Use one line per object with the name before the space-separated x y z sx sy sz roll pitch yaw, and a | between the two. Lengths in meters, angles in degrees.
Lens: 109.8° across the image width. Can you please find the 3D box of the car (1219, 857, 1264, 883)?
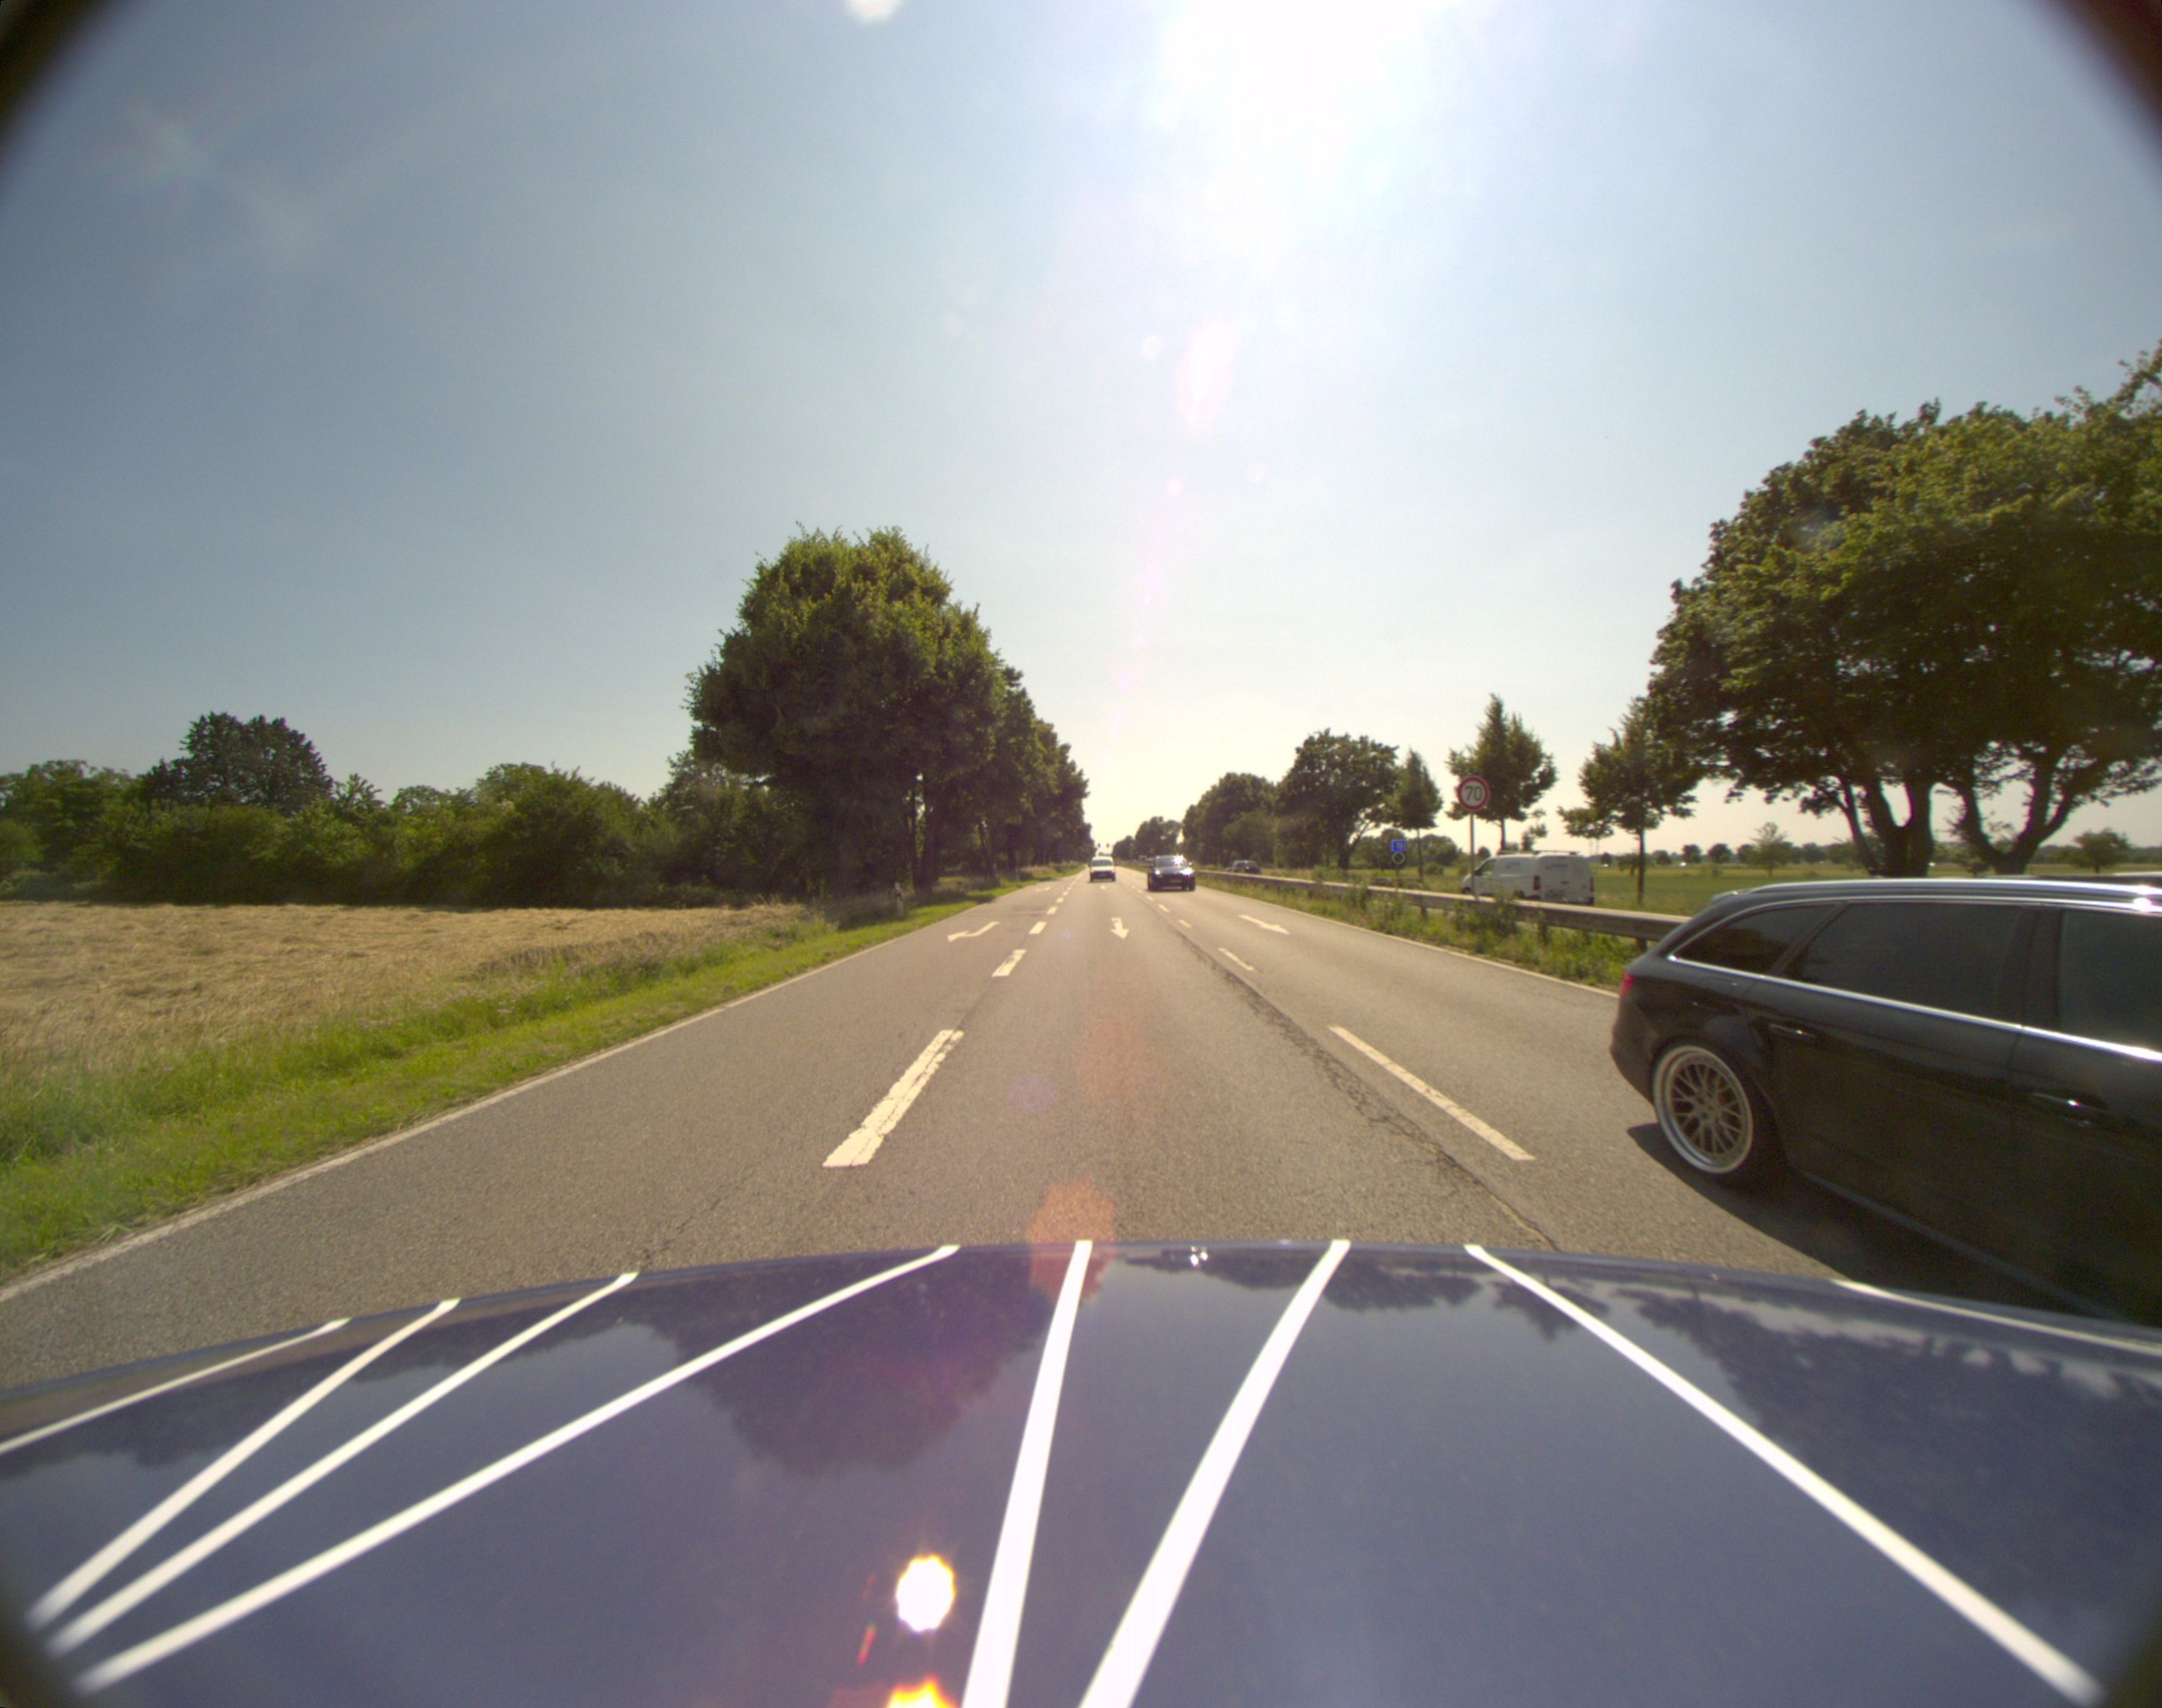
car | 10.099 0.972 48.130 1.998 1.594 4.480 0 0 1

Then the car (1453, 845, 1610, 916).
car | 13.549 0.719 23.287 1.998 1.940 4.830 0 0 1

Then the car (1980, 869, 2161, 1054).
car | 9.598 0.872 5.075 1.884 1.446 4.504 0 0 1

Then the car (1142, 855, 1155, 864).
car | 12.209 0.945 137.424 1.998 1.547 4.481 0 0 1

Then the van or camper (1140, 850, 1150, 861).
van or camper | 17.721 0.369 211.659 2.391 2.931 7.092 0 0 1

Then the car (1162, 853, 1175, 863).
car | 17.054 0.791 148.067 1.998 1.949 4.927 0 0 1

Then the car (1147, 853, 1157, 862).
car | 16.827 0.859 179.424 2.043 2.002 4.532 0 0 1

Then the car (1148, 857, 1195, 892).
car | 4.196 0.916 35.802 1.860 1.507 4.101 -2 0 3

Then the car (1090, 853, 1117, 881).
car | 1.509 0.873 52.597 1.777 1.863 4.581 0 0 1

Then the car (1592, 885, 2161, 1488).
car | 3.566 0.880 1.811 1.744 1.372 4.455 -2 0 1

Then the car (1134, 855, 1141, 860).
car | 18.985 1.056 254.739 1.960 1.581 4.865 0 0 0

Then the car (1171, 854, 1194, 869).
car | 11.167 0.806 84.063 1.998 1.653 4.480 0 0 1
